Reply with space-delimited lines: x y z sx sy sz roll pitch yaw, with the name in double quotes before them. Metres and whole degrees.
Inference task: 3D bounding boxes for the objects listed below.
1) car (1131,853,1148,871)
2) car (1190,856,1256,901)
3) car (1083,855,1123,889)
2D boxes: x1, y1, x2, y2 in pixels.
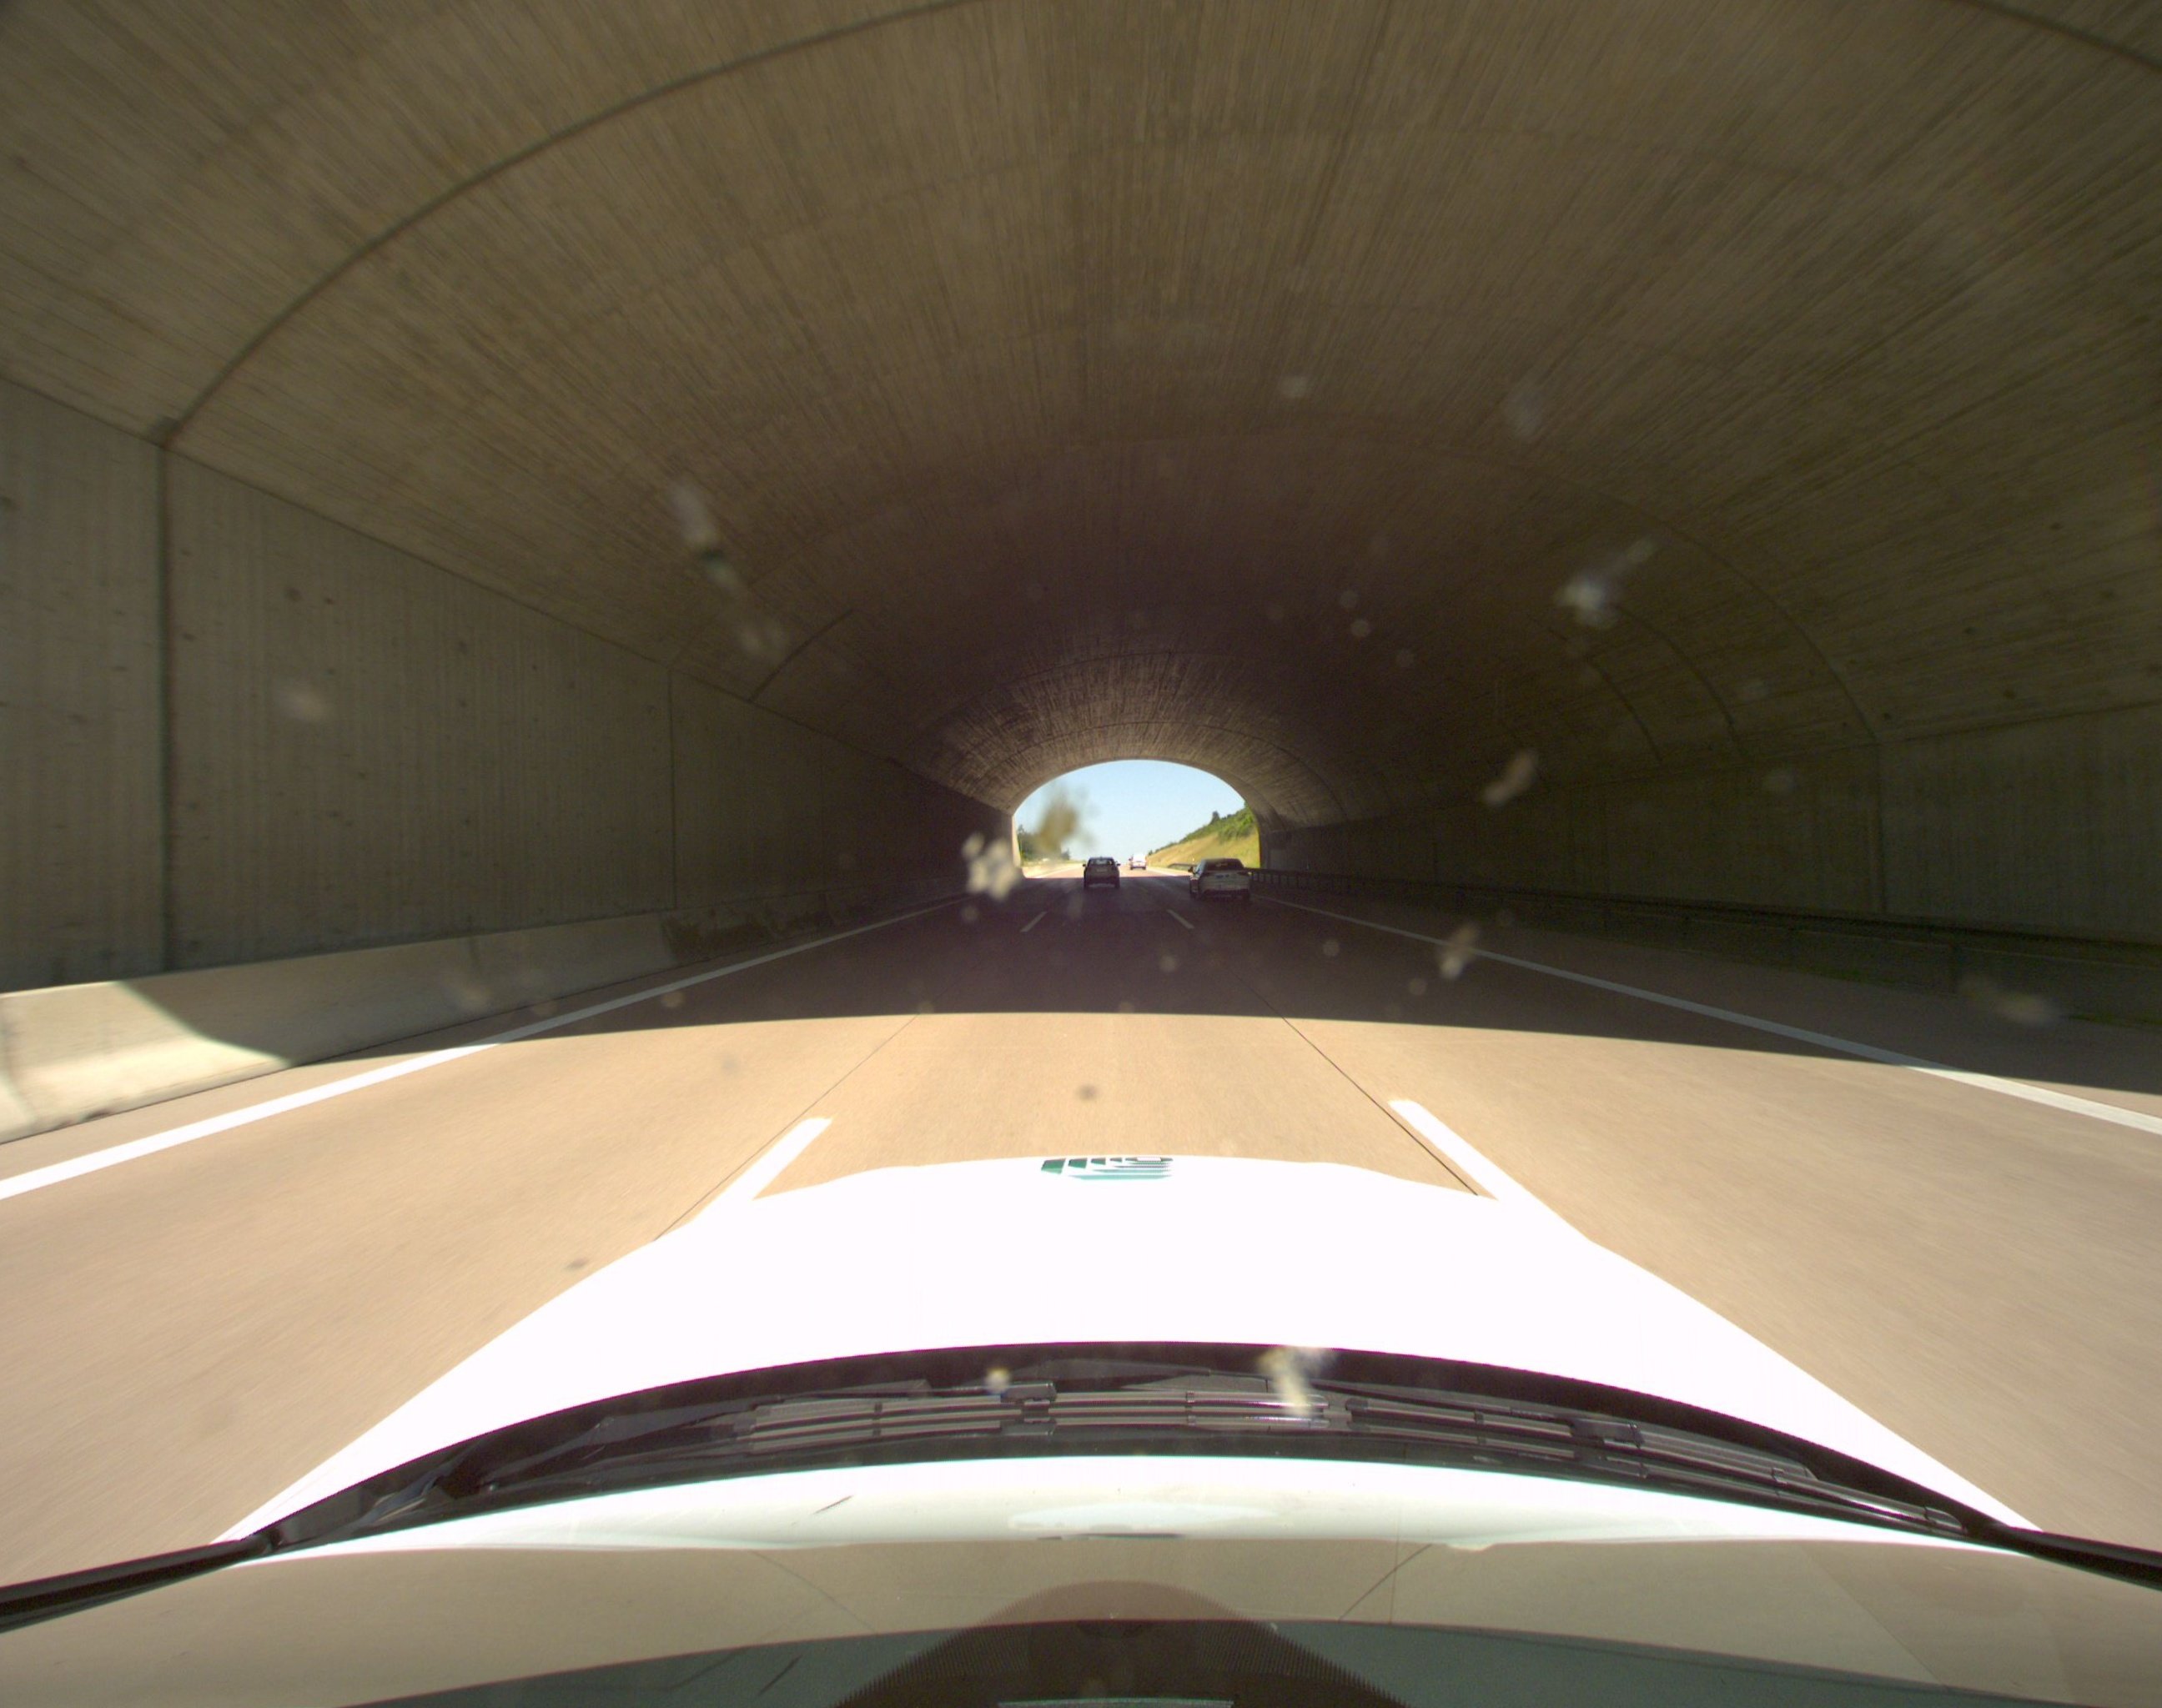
"car" 7.224 0.938 101.014 2.101 2.053 4.004 -1 1 3
"car" 4.937 0.817 28.758 1.883 1.398 4.004 0 1 3
"car" 1.101 0.855 41.123 1.872 1.607 4.835 -1 0 1
